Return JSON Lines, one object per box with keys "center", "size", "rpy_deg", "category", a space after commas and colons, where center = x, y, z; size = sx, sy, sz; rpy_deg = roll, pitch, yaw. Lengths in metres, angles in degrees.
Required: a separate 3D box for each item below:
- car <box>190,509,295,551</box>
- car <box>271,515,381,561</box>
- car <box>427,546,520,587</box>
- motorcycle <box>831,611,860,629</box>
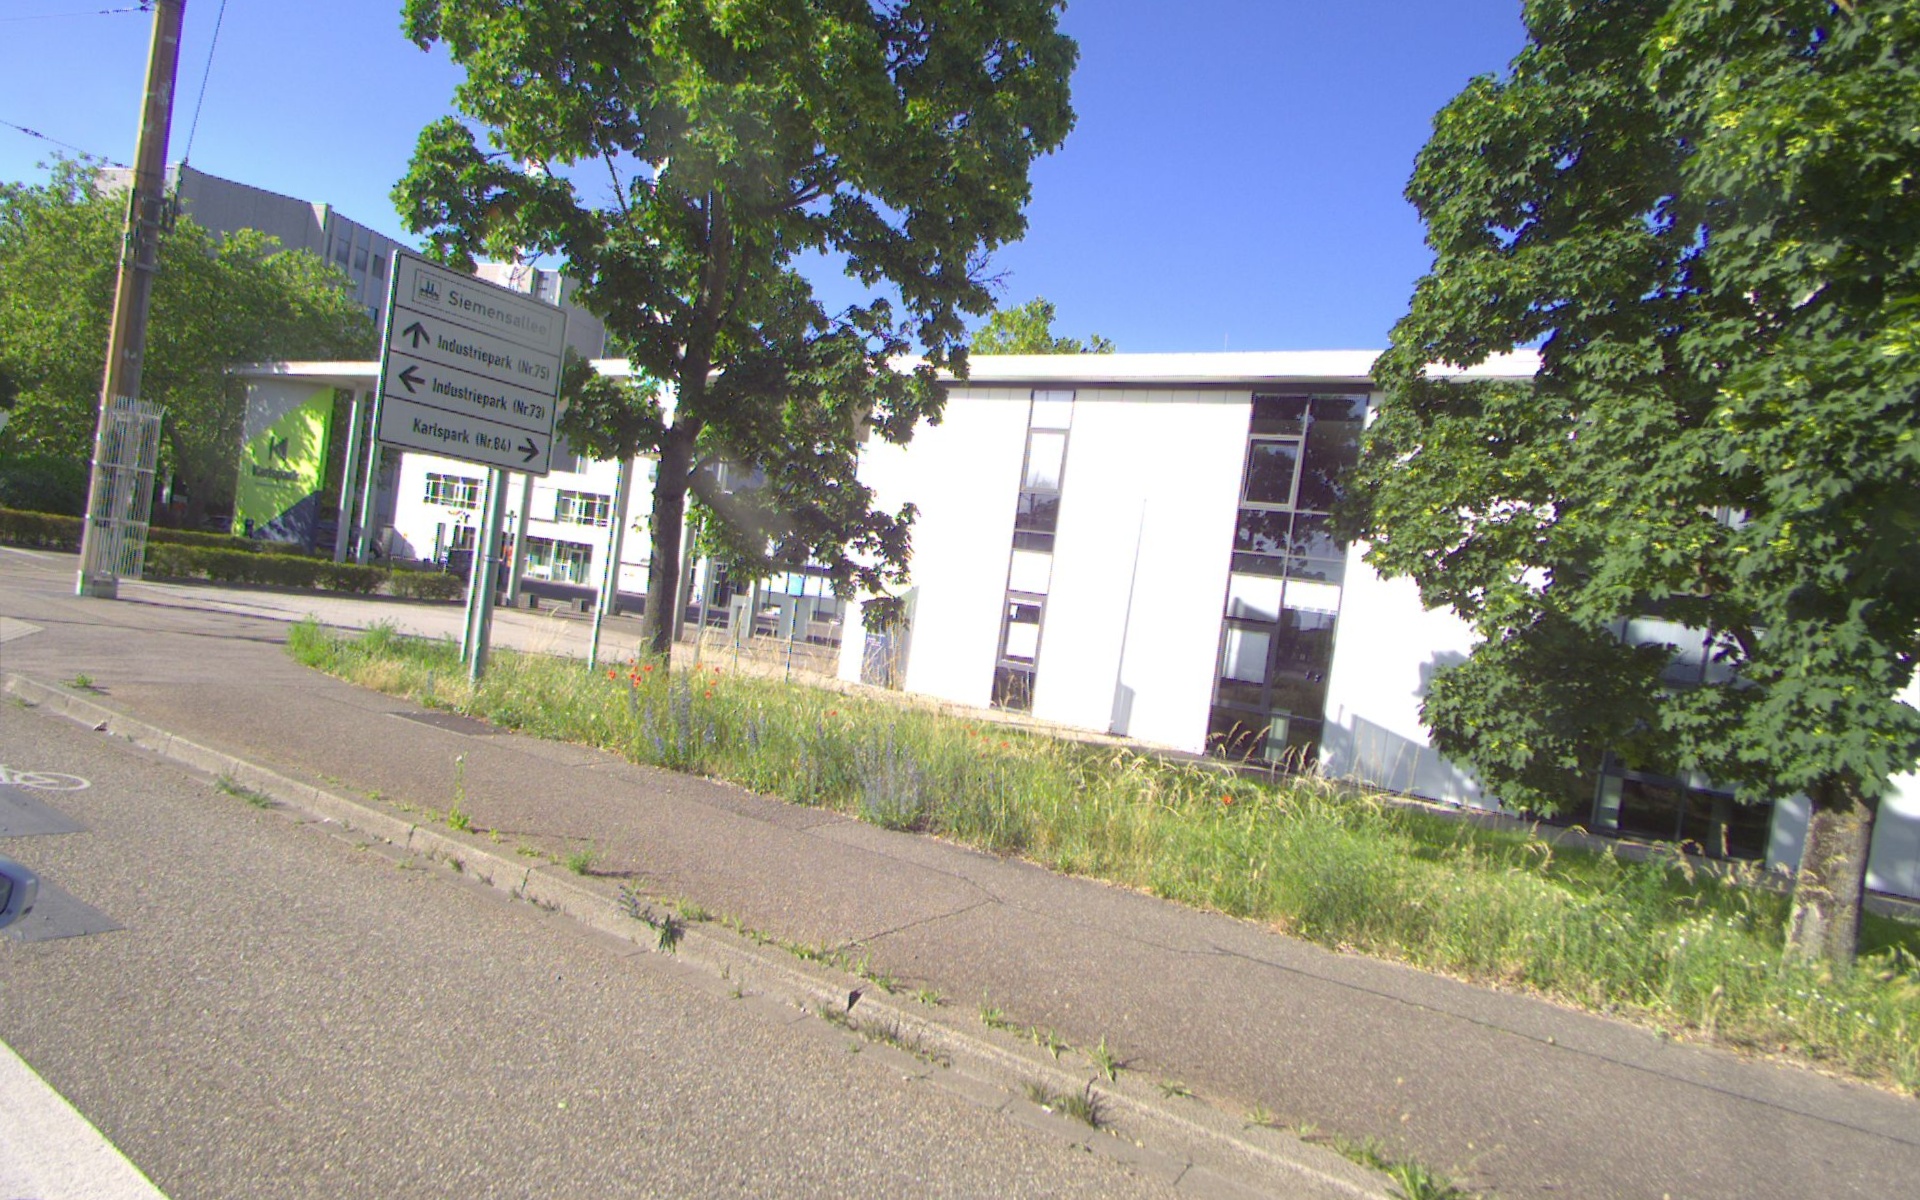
{"center": [-41.354, -3.999, 58.111], "size": [1.861, 1.706, 4.468], "rpy_deg": [7, -1, 26], "category": "car"}
{"center": [-34.972, -3.370, 55.651], "size": [2.052, 1.778, 4.900], "rpy_deg": [7, -1, 17], "category": "car"}
{"center": [-25.357, -1.709, 52.592], "size": [1.918, 1.597, 4.000], "rpy_deg": [7, -1, 23], "category": "car"}
{"center": [-7.637, 1.315, 66.996], "size": [1.701, 0.959, 0.653], "rpy_deg": [7, 0, 17], "category": "motorcycle"}
